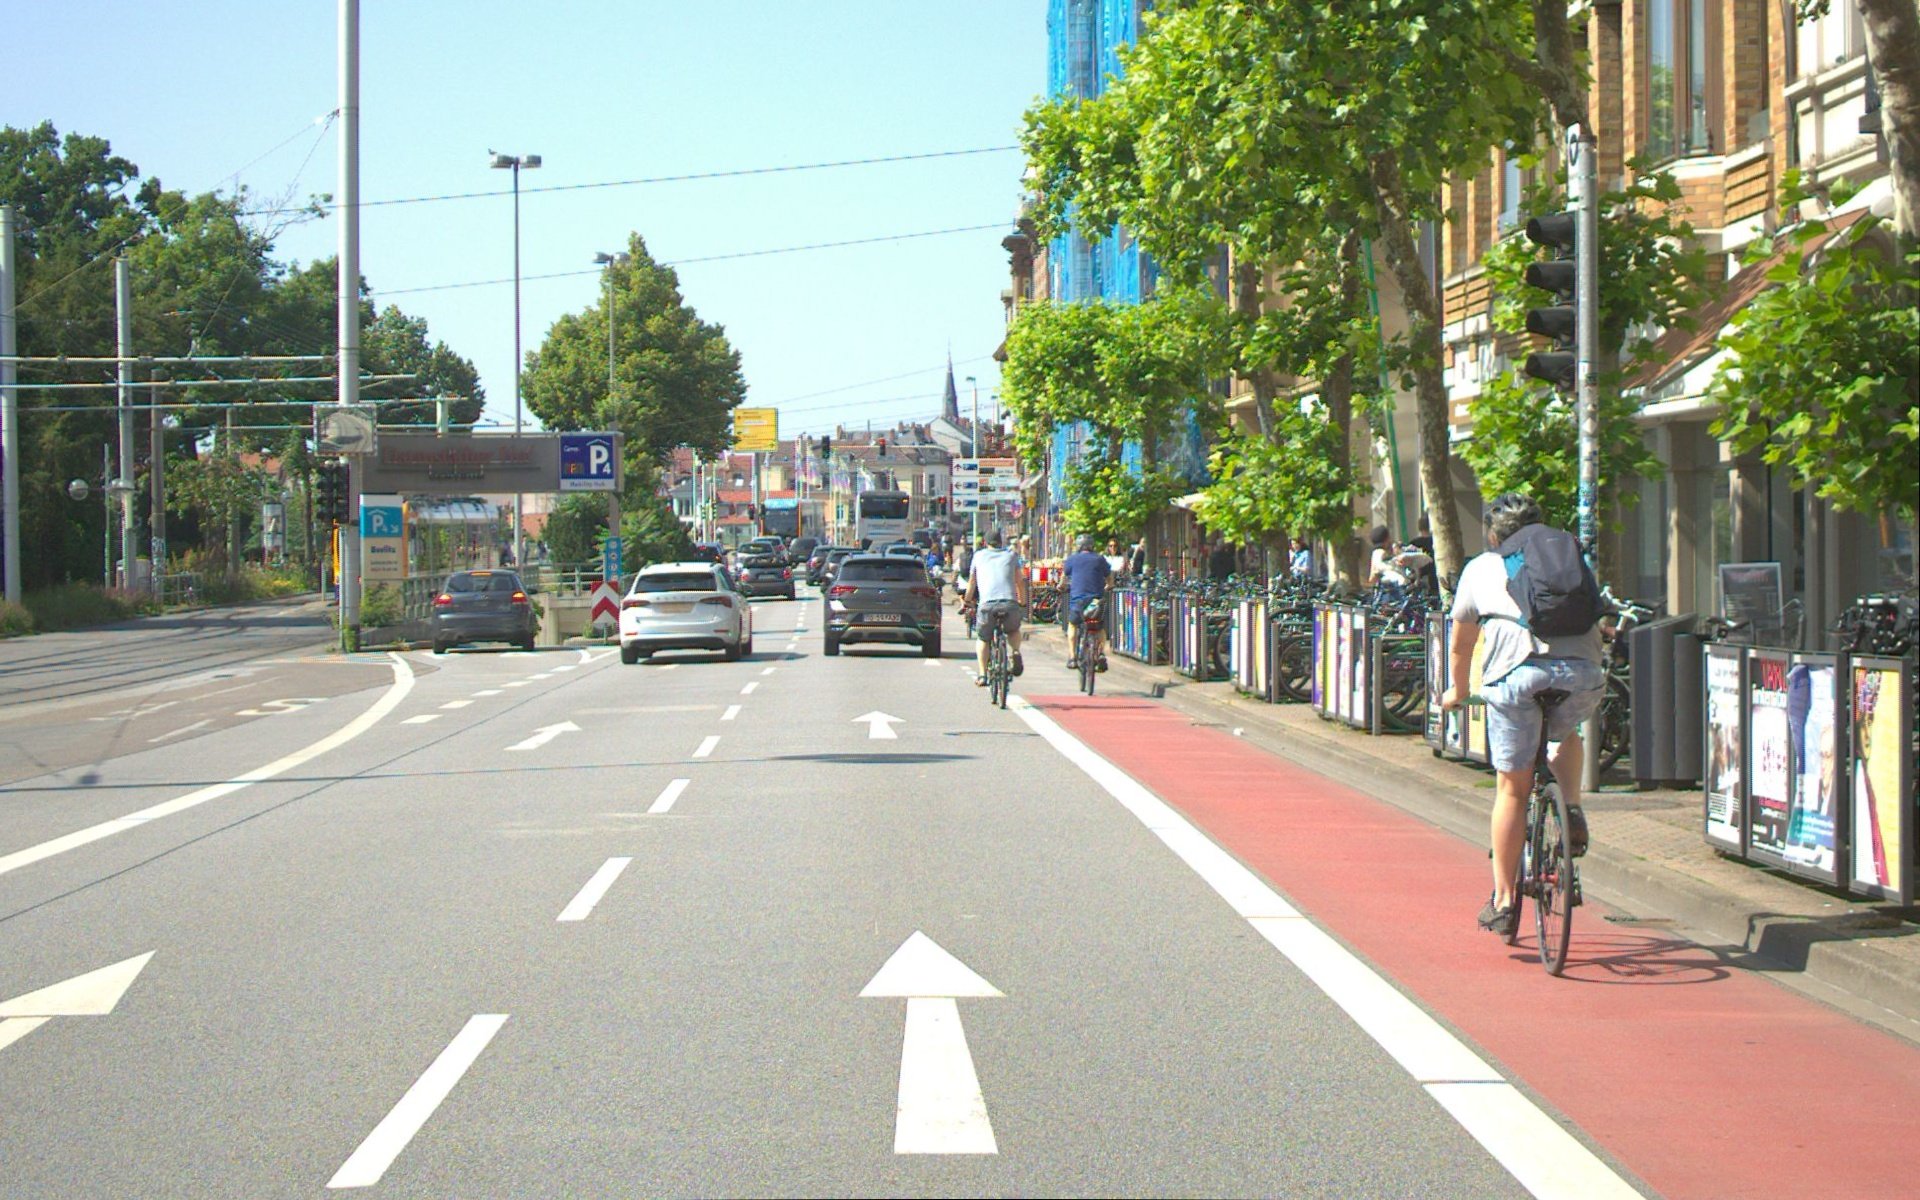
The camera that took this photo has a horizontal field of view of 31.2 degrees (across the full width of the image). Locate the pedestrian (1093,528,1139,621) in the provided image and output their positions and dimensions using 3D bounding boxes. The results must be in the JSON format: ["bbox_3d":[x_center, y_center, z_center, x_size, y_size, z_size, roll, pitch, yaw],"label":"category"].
[{"bbox_3d":[2.829,-0.457,62.388,0.656,1.677,0.653,0,0,-17],"label":"pedestrian"}]

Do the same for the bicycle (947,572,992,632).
[{"bbox_3d":[0.167,0.030,64.093,0.734,1.089,1.898,2,1,-2],"label":"bicycle"}]

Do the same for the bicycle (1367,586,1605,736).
[{"bbox_3d":[4.053,0.462,26.555,1.752,1.143,0.483,0,1,-4],"label":"bicycle"}]

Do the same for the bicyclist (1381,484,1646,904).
[{"bbox_3d":[2.015,0.324,12.644,0.688,1.458,1.143,2,0,-3],"label":"bicyclist"}]

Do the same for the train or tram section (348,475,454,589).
[{"bbox_3d":[-18.256,-2.190,112.535,2.613,3.569,6.104,2,1,-2],"label":"train or tram section"}]

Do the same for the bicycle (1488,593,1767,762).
[{"bbox_3d":[4.435,0.509,22.878,1.752,1.101,0.483,0,1,-4],"label":"bicycle"}]

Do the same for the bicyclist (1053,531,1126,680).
[{"bbox_3d":[1.427,0.057,38.047,0.688,1.611,0.918,2,0,-3],"label":"bicyclist"}]

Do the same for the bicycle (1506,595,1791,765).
[{"bbox_3d":[4.475,0.514,22.384,1.752,1.084,0.483,0,1,-4],"label":"bicycle"}]

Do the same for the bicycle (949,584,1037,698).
[{"bbox_3d":[0.321,0.402,34.749,0.734,1.089,1.898,2,1,-3],"label":"bicycle"}]

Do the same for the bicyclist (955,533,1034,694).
[{"bbox_3d":[0.343,0.131,34.510,0.688,1.571,1.049,2,0,-3],"label":"bicyclist"}]

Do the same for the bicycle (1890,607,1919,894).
[{"bbox_3d":[4.719,0.605,13.963,1.752,1.143,0.483,0,1,-4],"label":"bicycle"}]

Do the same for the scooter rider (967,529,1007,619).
[{"bbox_3d":[0.522,-0.514,66.946,0.688,1.723,0.778,2,0,-2],"label":"scooter rider"}]

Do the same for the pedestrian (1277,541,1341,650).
[{"bbox_3d":[5.287,-0.075,52.125,0.695,1.620,0.702,-2,1,-20],"label":"pedestrian"}]

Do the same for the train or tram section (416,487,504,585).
[{"bbox_3d":[-18.987,-2.401,130.749,2.613,3.569,6.018,2,1,-2],"label":"train or tram section"}]

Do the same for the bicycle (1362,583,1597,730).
[{"bbox_3d":[4.091,0.436,27.122,1.752,1.143,0.527,0,1,-4],"label":"bicycle"}]

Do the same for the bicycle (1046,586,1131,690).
[{"bbox_3d":[1.409,0.404,38.123,0.734,1.089,1.911,2,1,-3],"label":"bicycle"}]

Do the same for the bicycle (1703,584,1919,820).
[{"bbox_3d":[4.615,0.494,17.003,1.773,1.143,0.483,0,1,-4],"label":"bicycle"}]

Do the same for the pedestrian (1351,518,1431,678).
[{"bbox_3d":[4.454,-0.026,35.552,0.652,1.628,0.730,2,0,-4],"label":"pedestrian"}]

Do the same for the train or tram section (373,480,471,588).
[{"bbox_3d":[-18.470,-2.256,118.249,2.613,3.569,5.357,2,1,-2],"label":"train or tram section"}]

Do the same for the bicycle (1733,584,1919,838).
[{"bbox_3d":[4.650,0.519,16.431,1.799,1.190,0.483,0,1,-4],"label":"bicycle"}]

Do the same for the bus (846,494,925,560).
[{"bbox_3d":[-3.339,-3.200,152.169,2.968,2.767,8.643,2,1,-4],"label":"bus"}]

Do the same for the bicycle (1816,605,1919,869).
[{"bbox_3d":[4.728,0.595,15.226,1.752,1.143,0.483,0,1,-4],"label":"bicycle"}]

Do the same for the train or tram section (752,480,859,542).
[{"bbox_3d":[-9.548,-5.501,213.847,2.825,3.569,10.021,2,1,21],"label":"train or tram section"}]

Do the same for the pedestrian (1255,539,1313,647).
[{"bbox_3d":[4.974,-0.106,52.756,0.599,1.620,0.644,-3,1,-20],"label":"pedestrian"}]

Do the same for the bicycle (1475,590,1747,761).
[{"bbox_3d":[4.423,0.505,23.387,1.752,1.143,0.483,0,1,-4],"label":"bicycle"}]

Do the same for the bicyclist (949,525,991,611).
[{"bbox_3d":[0.184,-0.597,64.114,0.688,1.571,1.049,2,0,-3],"label":"bicyclist"}]

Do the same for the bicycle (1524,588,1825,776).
[{"bbox_3d":[4.406,0.498,21.237,1.752,1.143,0.483,0,1,-4],"label":"bicycle"}]

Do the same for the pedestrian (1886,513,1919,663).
[{"bbox_3d":[8.274,-0.092,28.885,0.727,1.248,0.590,2,1,42],"label":"pedestrian"}]

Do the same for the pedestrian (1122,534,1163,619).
[{"bbox_3d":[4.044,-0.526,76.191,0.814,1.842,0.891,-2,0,6],"label":"pedestrian"}]

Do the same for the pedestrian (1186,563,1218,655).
[{"bbox_3d":[4.449,0.161,63.141,0.498,1.677,0.537,-2,0,1],"label":"pedestrian"}]

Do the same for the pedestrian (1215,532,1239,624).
[{"bbox_3d":[4.925,-0.408,63.448,0.380,1.677,0.477,-1,0,0],"label":"pedestrian"}]

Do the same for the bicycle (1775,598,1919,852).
[{"bbox_3d":[4.691,0.563,15.835,1.752,1.143,0.483,0,1,-4],"label":"bicycle"}]

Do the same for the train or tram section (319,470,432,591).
[{"bbox_3d":[-18.044,-2.121,106.426,2.613,3.569,6.104,2,1,-2],"label":"train or tram section"}]

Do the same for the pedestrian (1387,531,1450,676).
[{"bbox_3d":[5.716,0.043,42.858,0.668,1.775,0.985,-1,0,2],"label":"pedestrian"}]

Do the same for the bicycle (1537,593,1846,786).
[{"bbox_3d":[4.400,0.532,20.722,1.752,1.143,0.483,0,1,-4],"label":"bicycle"}]

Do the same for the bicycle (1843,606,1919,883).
[{"bbox_3d":[4.685,0.601,14.590,1.752,1.143,0.483,0,1,-4],"label":"bicycle"}]
